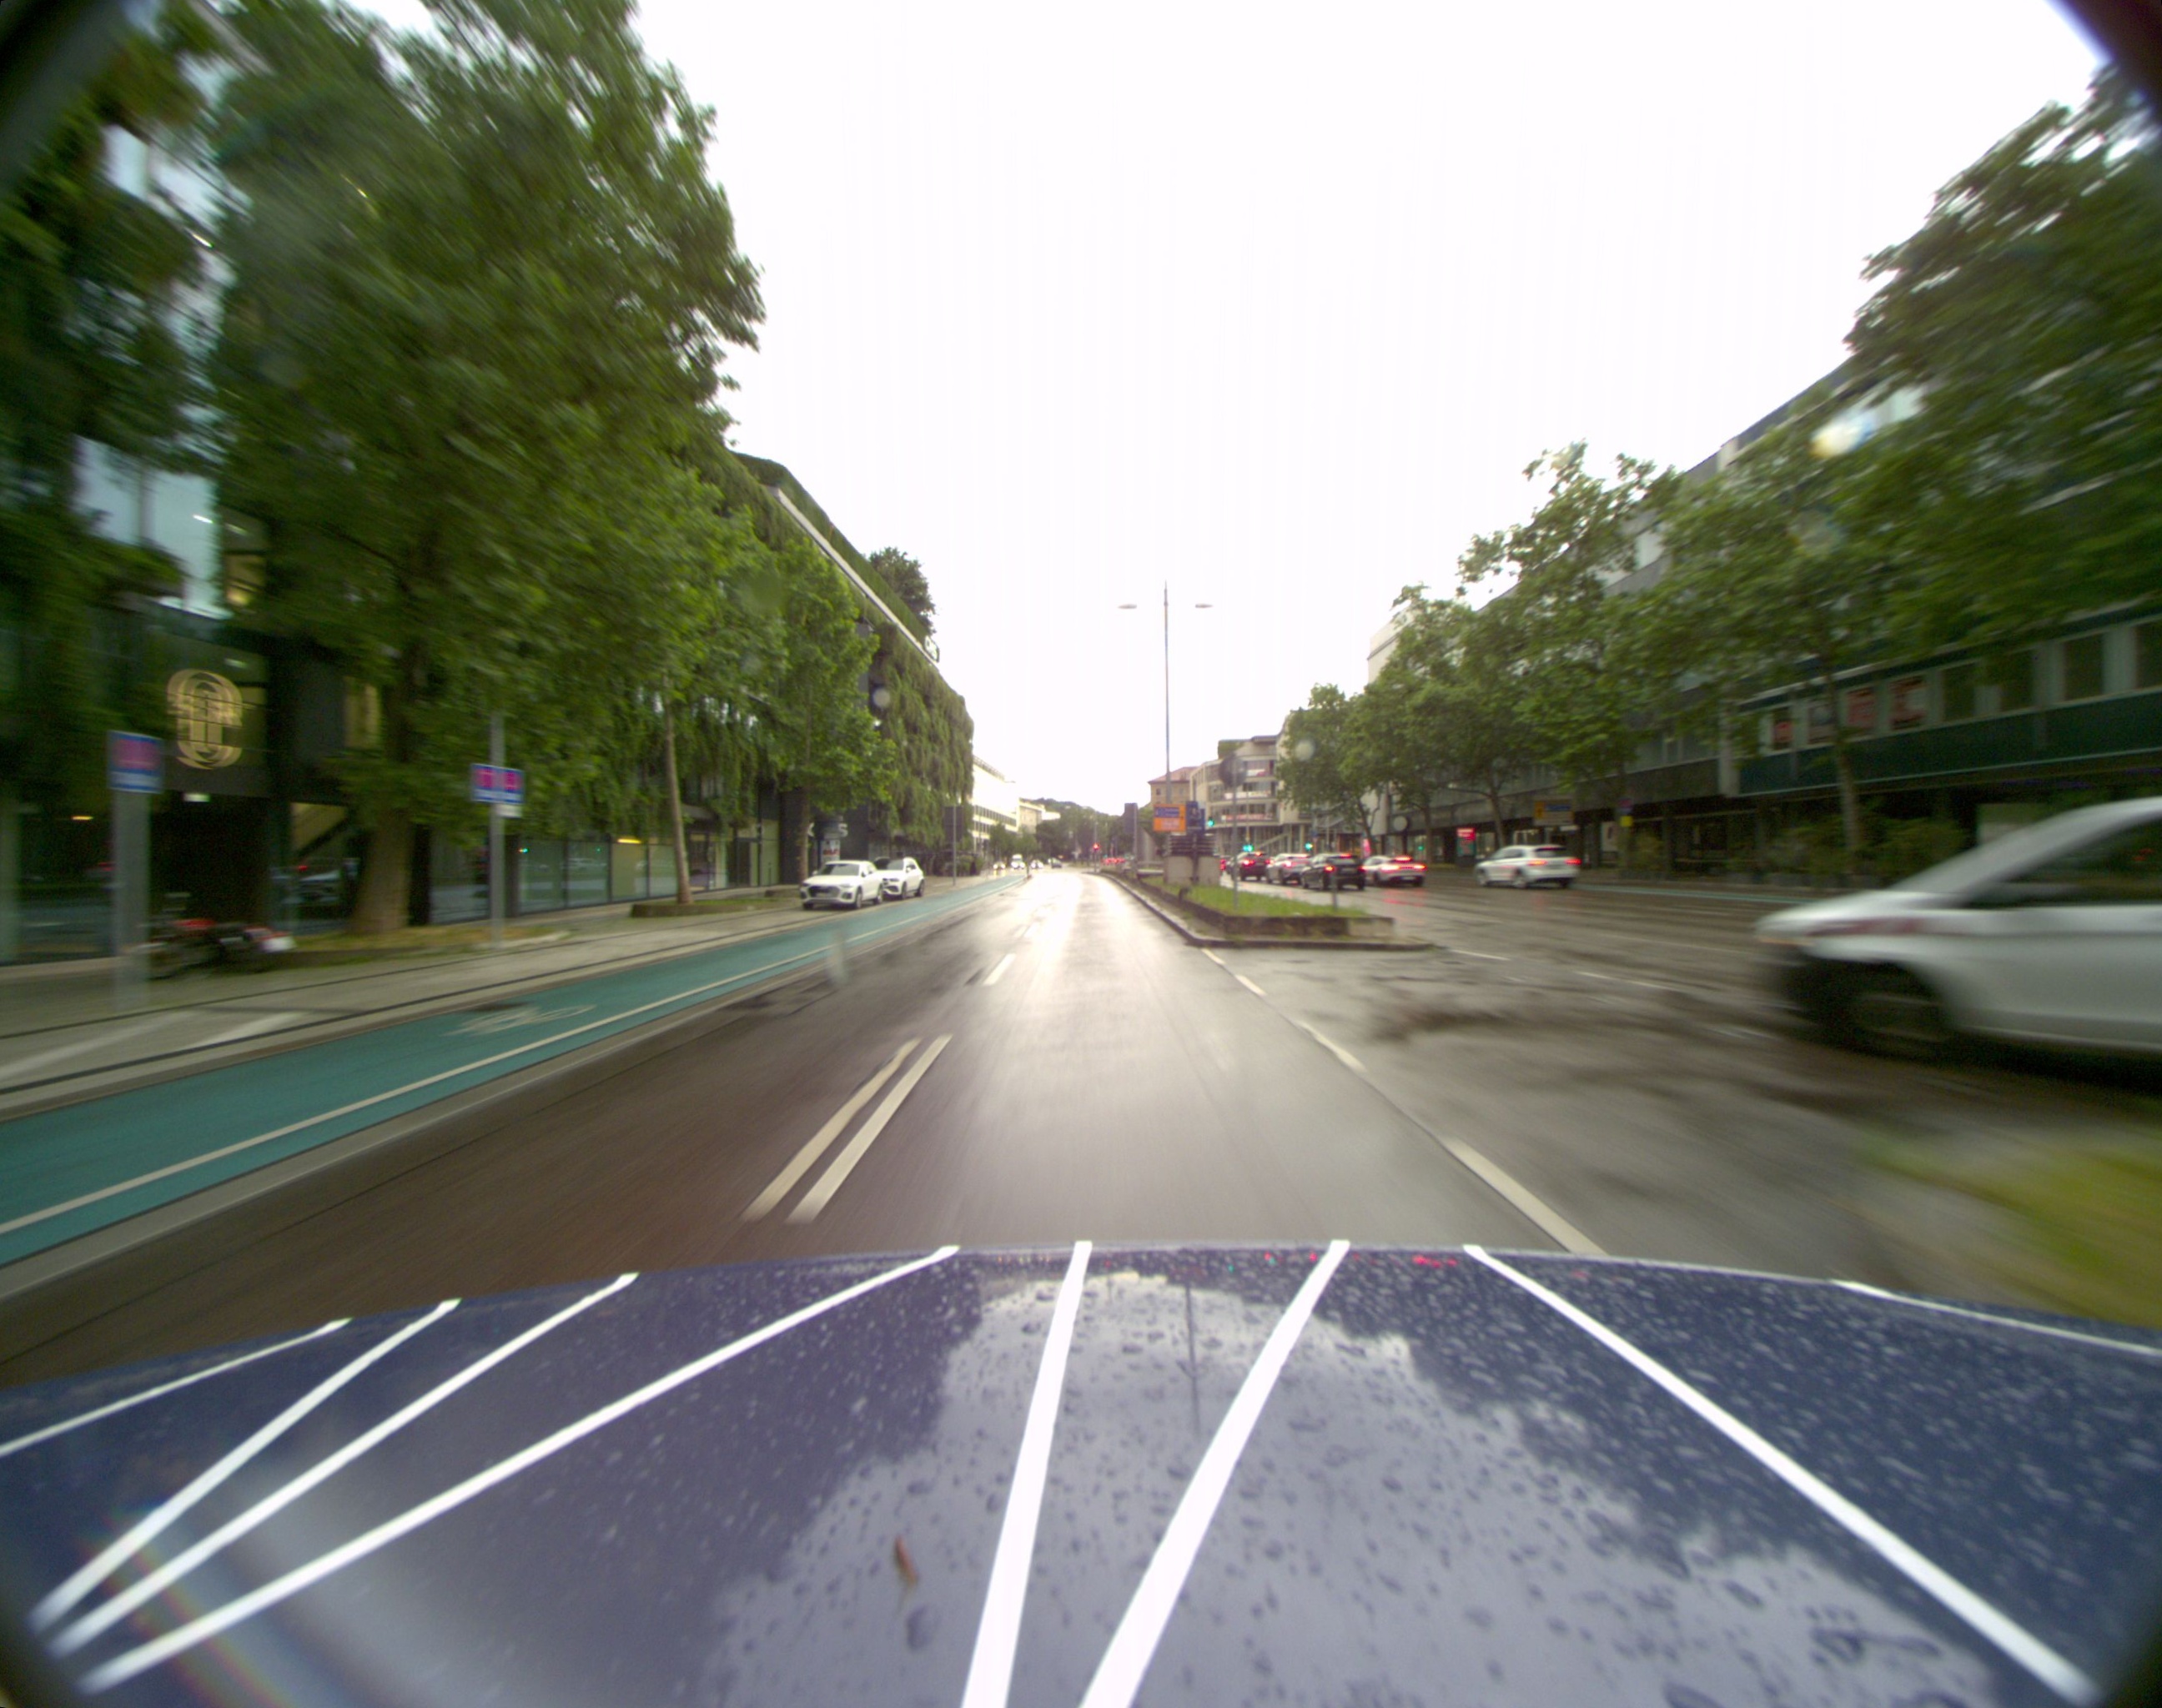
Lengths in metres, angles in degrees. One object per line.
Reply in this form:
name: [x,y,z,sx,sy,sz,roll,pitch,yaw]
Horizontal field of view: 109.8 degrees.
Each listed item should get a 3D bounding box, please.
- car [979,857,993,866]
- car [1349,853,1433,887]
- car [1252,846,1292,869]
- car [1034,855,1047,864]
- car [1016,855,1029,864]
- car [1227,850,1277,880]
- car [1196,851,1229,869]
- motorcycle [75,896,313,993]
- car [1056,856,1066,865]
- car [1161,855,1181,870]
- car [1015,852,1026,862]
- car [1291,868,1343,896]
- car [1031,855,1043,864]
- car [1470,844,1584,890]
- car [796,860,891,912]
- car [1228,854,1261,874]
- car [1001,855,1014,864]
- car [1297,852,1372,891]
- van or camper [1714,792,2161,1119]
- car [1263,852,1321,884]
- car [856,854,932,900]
car: [-16.220,1.270,130.392,1.739,1.543,4.671,-1,0,1]
car: [13.881,0.673,34.367,1.971,1.401,4.958,-1,0,3]
car: [14.121,0.251,56.364,1.758,1.556,3.999,-2,0,-2]
car: [-7.169,0.944,134.973,1.978,1.543,4.671,-1,0,1]
car: [-10.416,0.989,135.191,1.739,1.543,4.671,-1,0,1]
car: [10.631,0.660,47.584,1.840,1.756,5.108,-1,0,-1]
car: [10.715,0.486,62.275,1.848,1.442,4.916,-1,0,0]
motorcycle: [-13.379,1.340,11.532,2.313,1.263,1.052,-3,0,0]
car: [-3.548,1.062,133.207,1.739,1.543,4.669,-1,0,-2]
car: [9.520,0.882,80.739,1.721,1.467,3.431,-1,0,0]
car: [-12.312,0.539,154.588,1.998,2.002,4.000,-1,0,0]
car: [14.182,1.666,45.910,1.724,1.482,4.569,-1,0,0]
car: [-7.537,0.921,129.964,1.739,1.543,4.671,-1,0,1]
car: [17.145,0.479,29.478,1.765,1.605,4.548,-2,0,1]
car: [-8.344,1.062,27.222,1.848,1.623,4.786,-1,0,0]
car: [13.819,0.828,64.481,1.758,1.556,3.999,-2,0,-2]
car: [-12.757,0.948,132.877,1.739,1.543,4.671,-1,0,1]
car: [10.906,0.706,33.001,1.918,1.543,4.542,-1,0,3]
van or camper: [7.398,0.568,4.487,2.003,1.902,5.239,-1,0,-30]
car: [10.992,0.694,39.893,1.739,1.564,4.832,-1,0,1]
car: [-8.035,0.943,33.077,1.848,1.827,5.095,0,0,2]
